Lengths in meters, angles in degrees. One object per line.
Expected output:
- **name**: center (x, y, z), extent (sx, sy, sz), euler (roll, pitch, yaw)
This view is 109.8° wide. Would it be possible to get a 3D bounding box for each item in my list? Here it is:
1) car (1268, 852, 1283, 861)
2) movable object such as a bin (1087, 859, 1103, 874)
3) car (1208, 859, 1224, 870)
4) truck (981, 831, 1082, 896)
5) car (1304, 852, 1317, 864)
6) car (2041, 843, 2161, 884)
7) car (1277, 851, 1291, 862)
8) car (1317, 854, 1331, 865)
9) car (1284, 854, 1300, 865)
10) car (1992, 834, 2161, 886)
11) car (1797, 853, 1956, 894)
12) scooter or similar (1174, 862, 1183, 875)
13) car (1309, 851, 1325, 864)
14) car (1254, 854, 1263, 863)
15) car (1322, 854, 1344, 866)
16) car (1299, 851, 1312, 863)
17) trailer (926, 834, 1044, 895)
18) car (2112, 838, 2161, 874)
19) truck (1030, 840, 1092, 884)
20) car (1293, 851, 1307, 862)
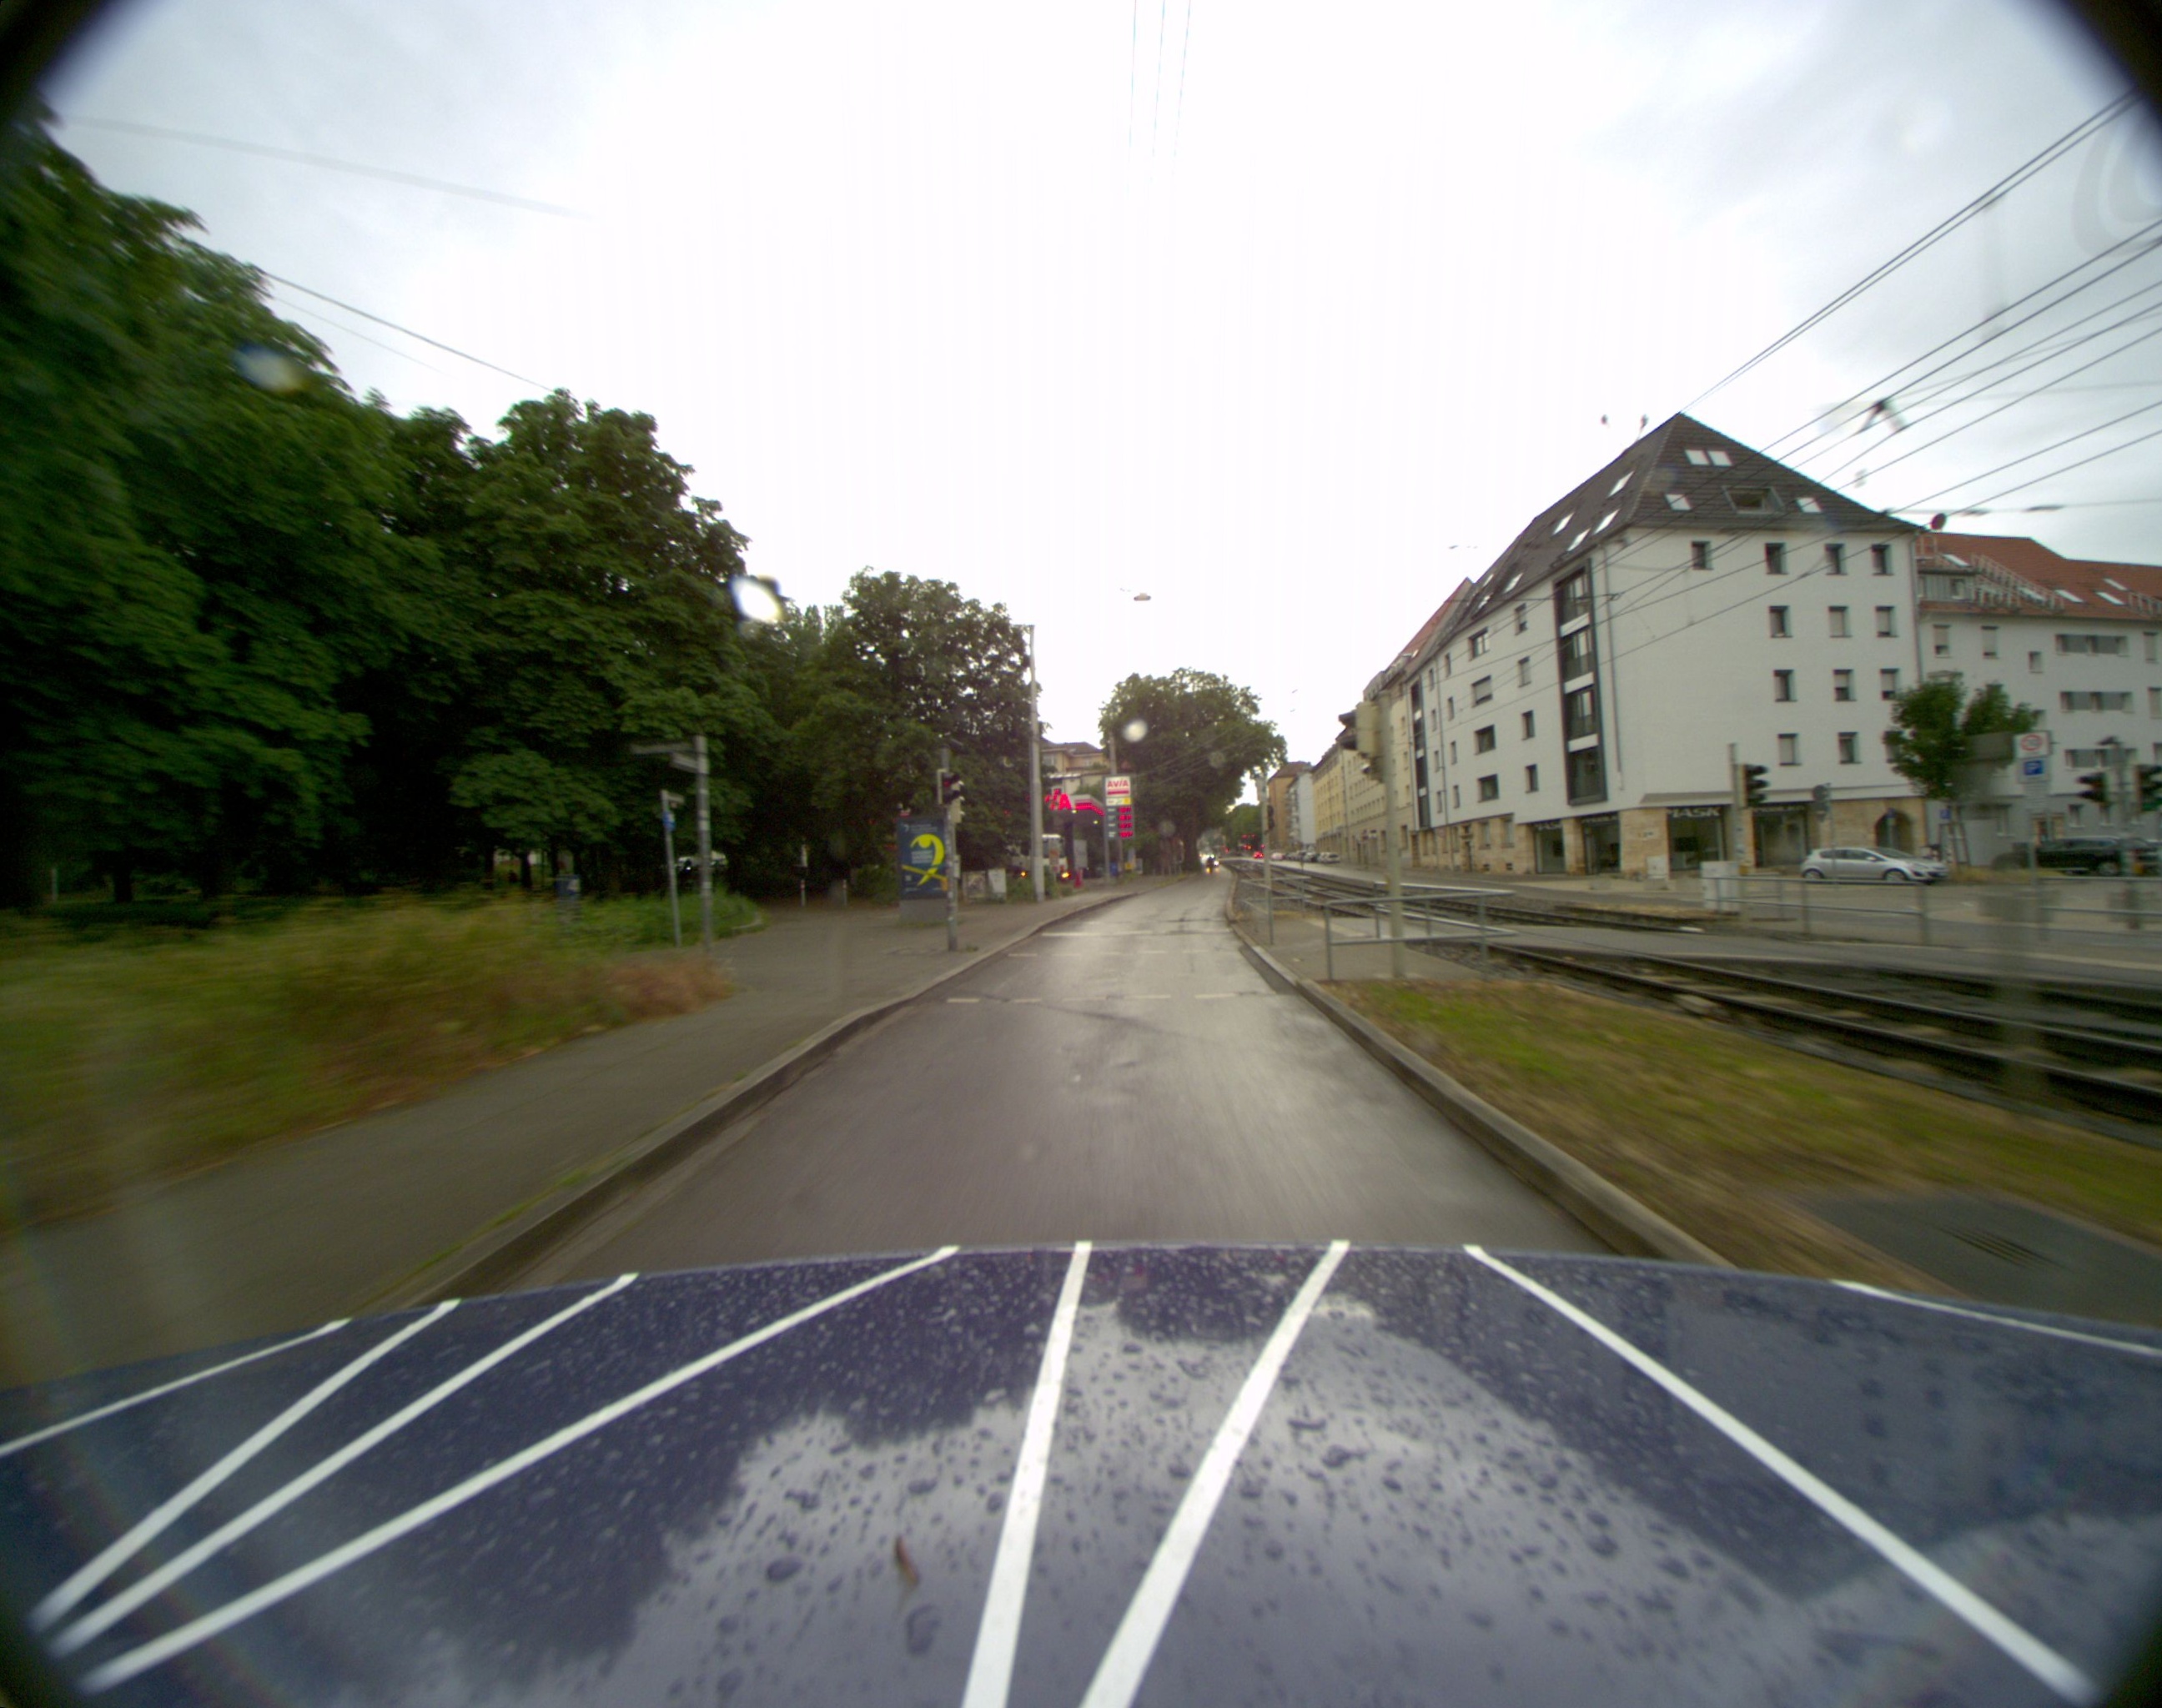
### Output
- **car**: center (36.194, 0.496, 141.417), extent (1.690, 1.527, 5.019), euler (-1, 0, 4)
- **movable object such as a bin**: center (1.338, 1.214, 71.803), extent (1.285, 1.392, 1.074), euler (-1, 0, 12)
- **car**: center (18.573, 1.429, 104.600), extent (1.887, 1.482, 3.853), euler (-1, 1, 14)
- **truck**: center (-2.915, 0.545, 42.791), extent (2.842, 3.379, 6.109), euler (-1, 0, -36)
- **car**: center (35.680, 0.623, 118.126), extent (1.376, 1.742, 3.408), euler (-2, 0, 7)
- **car**: center (43.826, 0.372, 31.868), extent (1.941, 1.608, 3.996), euler (-1, 0, -10)
- **car**: center (40.949, 0.522, 153.369), extent (2.029, 2.002, 4.229), euler (-2, 0, 7)
- **car**: center (33.897, 0.792, 105.959), extent (1.325, 1.475, 3.192), euler (-2, 0, 7)
- **car**: center (37.302, 0.955, 134.528), extent (2.029, 2.002, 4.229), euler (-2, 0, 7)
- **car**: center (41.006, 0.244, 31.309), extent (1.941, 2.002, 3.996), euler (-1, 0, -10)
- **car**: center (30.164, 0.686, 28.976), extent (1.601, 1.412, 3.912), euler (-2, 0, -13)
- **scooter or similar**: center (9.807, 1.469, 76.386), extent (0.399, 1.186, 1.364), euler (-1, 3, 24)
- **car**: center (34.964, 0.500, 112.698), extent (1.728, 1.948, 4.302), euler (-2, 0, 9)
- **car**: center (42.899, 1.041, 183.497), extent (1.947, 2.002, 4.003), euler (-1, 0, 10)
- **car**: center (33.601, 0.738, 101.271), extent (2.029, 1.533, 4.002), euler (-2, 0, 7)
- **car**: center (36.341, 0.519, 122.893), extent (1.556, 1.872, 4.044), euler (-1, 0, 10)
- **trailer**: center (-6.199, 0.633, 47.321), extent (2.818, 3.376, 9.810), euler (-2, 0, -36)
- **car**: center (48.684, 0.073, 33.117), extent (1.941, 1.608, 3.996), euler (-1, 0, -10)
- **truck**: center (-1.571, 0.630, 67.853), extent (2.657, 3.548, 10.266), euler (-1, 0, 15)
- **car**: center (37.123, 0.485, 129.015), extent (1.726, 1.798, 3.594), euler (-2, 0, 7)
